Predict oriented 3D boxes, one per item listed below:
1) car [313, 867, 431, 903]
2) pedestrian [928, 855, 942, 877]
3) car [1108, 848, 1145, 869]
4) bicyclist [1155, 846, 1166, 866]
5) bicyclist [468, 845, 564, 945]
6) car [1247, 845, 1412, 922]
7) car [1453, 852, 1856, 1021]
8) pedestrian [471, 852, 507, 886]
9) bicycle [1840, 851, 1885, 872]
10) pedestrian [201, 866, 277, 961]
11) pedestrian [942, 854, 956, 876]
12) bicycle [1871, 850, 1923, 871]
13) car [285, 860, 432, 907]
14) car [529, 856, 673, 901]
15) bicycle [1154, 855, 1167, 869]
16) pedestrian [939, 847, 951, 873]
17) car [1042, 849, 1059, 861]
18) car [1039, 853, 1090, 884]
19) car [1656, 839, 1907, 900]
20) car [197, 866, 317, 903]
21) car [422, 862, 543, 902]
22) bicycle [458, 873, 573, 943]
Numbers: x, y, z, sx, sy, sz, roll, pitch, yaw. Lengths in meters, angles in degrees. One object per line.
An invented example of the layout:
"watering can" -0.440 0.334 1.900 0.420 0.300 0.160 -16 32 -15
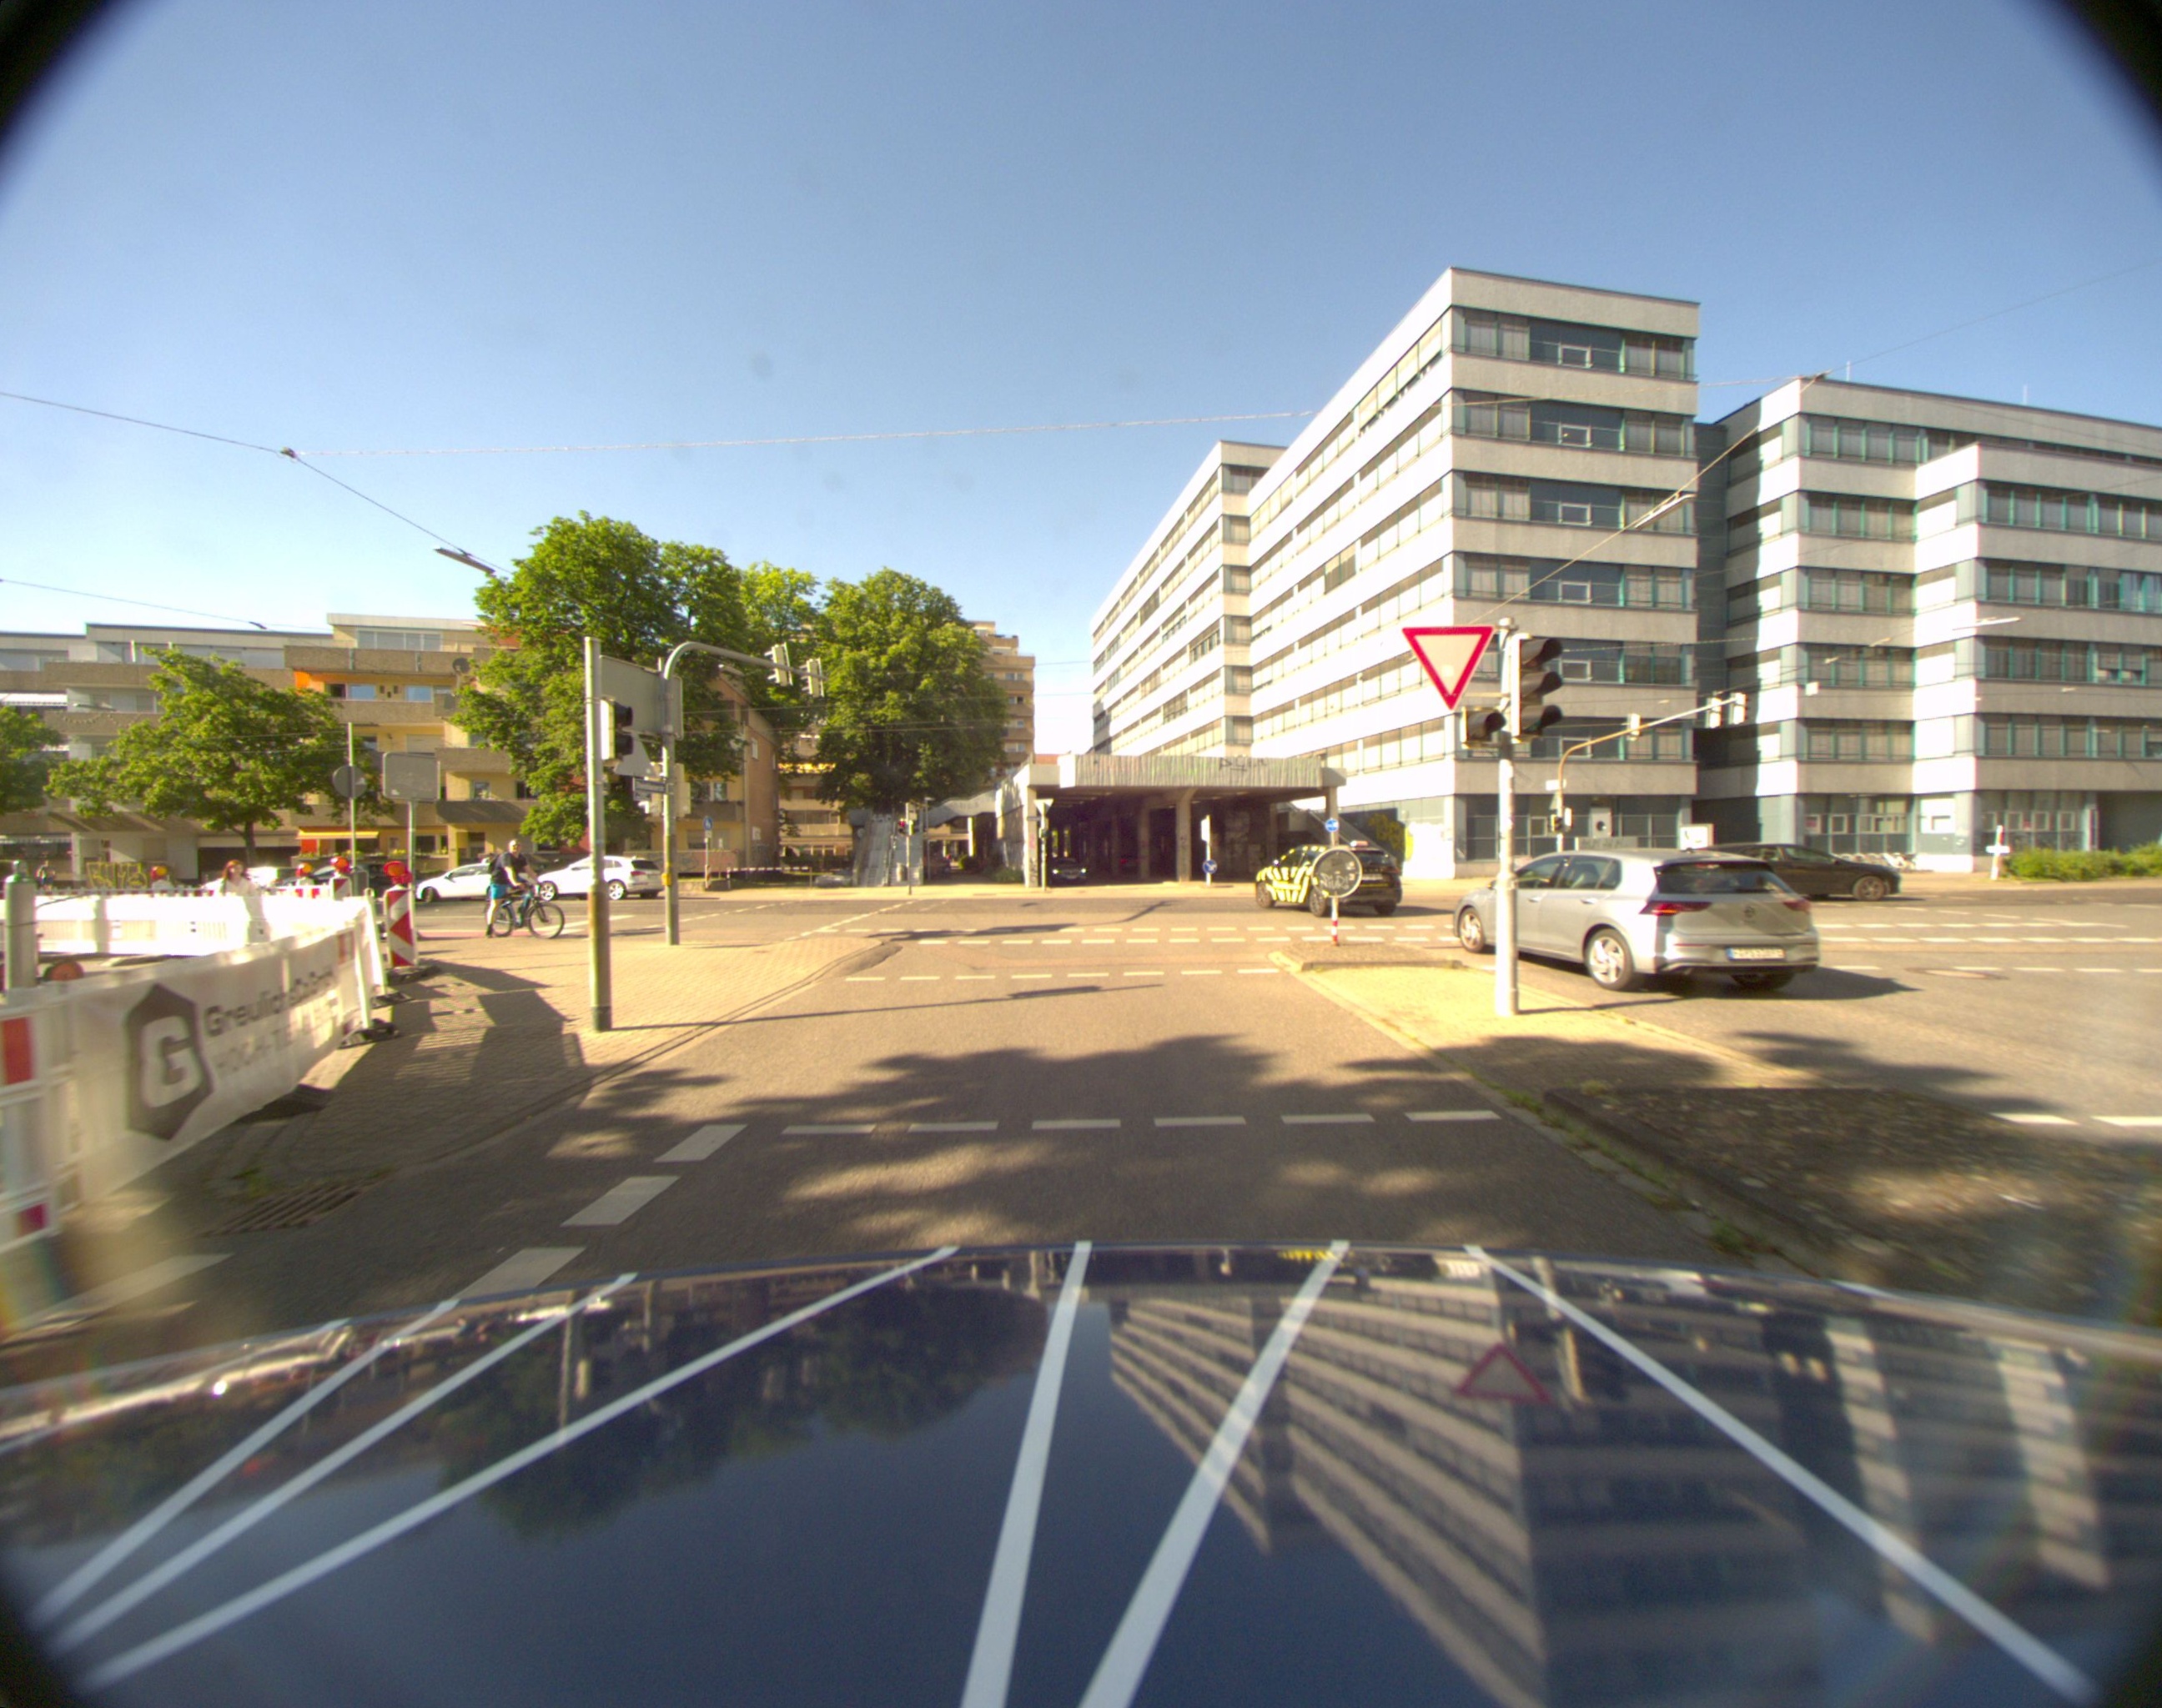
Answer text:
"car" -28.303 1.211 30.381 3.289 1.397 1.667 0 -1 5
"pedestrian" -8.713 0.709 45.276 0.741 1.291 0.612 -1 1 -18
"car" 3.561 0.343 60.426 1.891 1.600 4.143 -1 1 -13
"bicyclist" 6.563 0.161 62.538 0.608 1.623 0.909 -1 1 -11
"bicyclist" -10.632 0.743 14.324 1.094 1.820 0.915 0 1 9
"car" 5.439 0.568 17.215 1.794 1.505 4.112 -1 1 -11
"car" 6.136 0.739 8.809 1.712 1.444 3.849 -1 1 -1
"pedestrian" -26.832 0.674 34.448 0.932 1.544 0.879 -1 1 17
"bicycle" 38.797 0.372 37.741 0.487 0.975 1.665 -2 1 -2
"pedestrian" -14.717 1.021 13.288 0.638 1.591 0.636 -1 1 17
"pedestrian" -7.920 0.667 45.525 0.725 1.291 0.589 -1 1 -18
"bicycle" 40.252 0.323 37.506 0.487 0.975 1.899 -2 1 -2
"car" -25.818 1.040 27.212 3.750 1.509 1.788 -2 1 7
"car" -18.036 0.898 28.638 4.316 1.610 1.937 0 1 7
"bicycle" 6.525 0.631 62.665 0.527 1.084 1.858 -1 1 -11
"pedestrian" -8.995 0.398 50.194 0.659 1.682 0.589 -1 1 -18
"car" -4.079 0.112 100.231 1.663 1.433 3.459 -1 0 -11
"car" -0.976 0.762 41.830 1.959 1.546 5.035 -2 1 -11
"car" 17.469 0.364 19.203 4.317 1.443 1.809 0 1 15
"car" -33.216 1.229 30.673 3.366 1.452 1.485 0 -1 4
"car" -23.447 1.073 29.840 3.504 1.522 1.657 0 -1 2
"bicycle" -10.659 1.005 14.340 1.781 1.258 0.655 0 0 9
